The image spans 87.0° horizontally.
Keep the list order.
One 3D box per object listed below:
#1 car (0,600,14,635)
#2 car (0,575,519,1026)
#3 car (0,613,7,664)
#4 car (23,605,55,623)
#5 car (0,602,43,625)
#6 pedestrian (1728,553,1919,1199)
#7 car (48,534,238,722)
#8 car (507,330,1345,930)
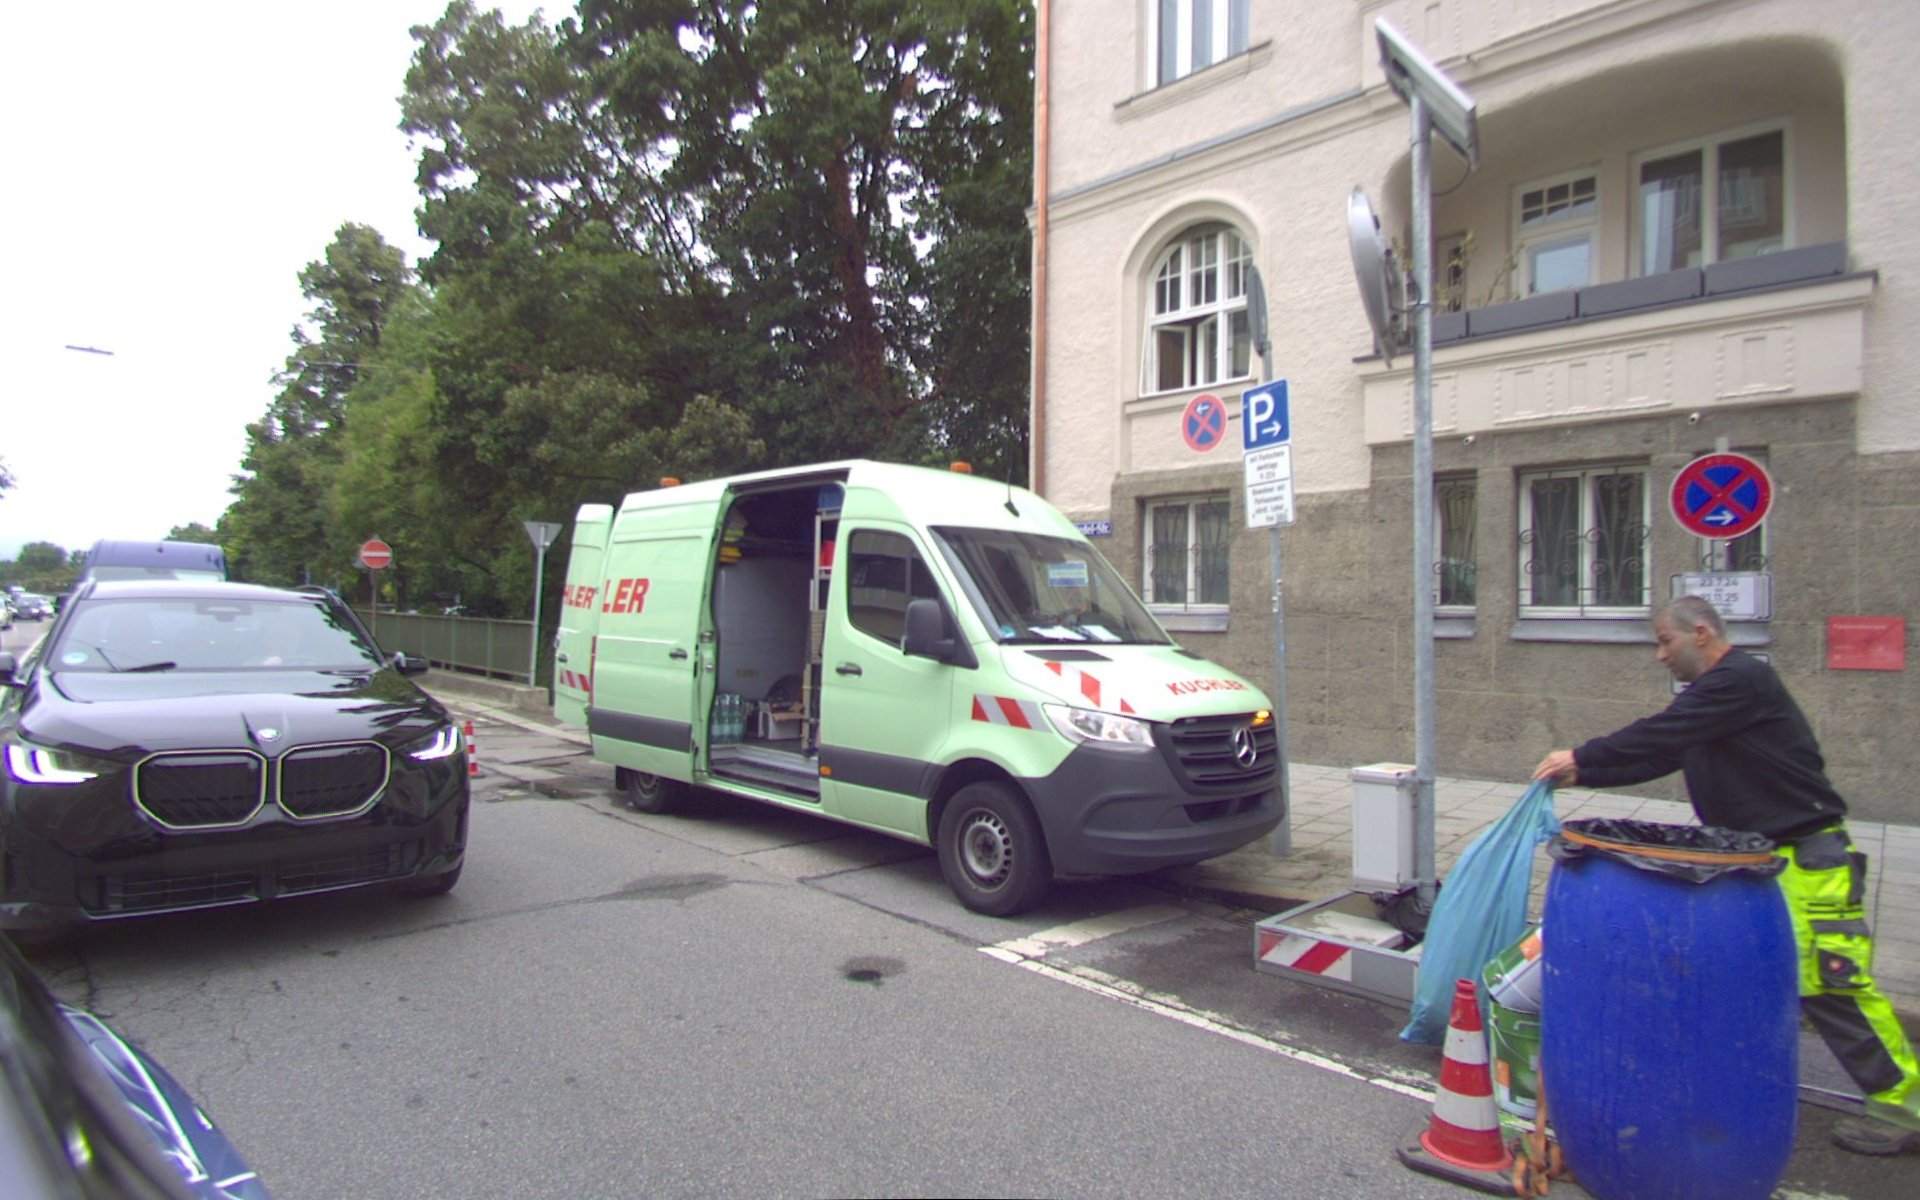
[{"bbox_3d":[-46.052,0.791,47.598,1.968,1.608,4.007,3,-2,-40],"label":"car"},{"bbox_3d":[-4.208,0.714,5.664,1.893,1.577,4.299,3,-1,-42],"label":"car"},{"bbox_3d":[-23.545,0.931,23.638,1.472,1.223,3.619,1,-1,-37],"label":"car"},{"bbox_3d":[-79.354,1.215,87.273,1.810,1.409,4.007,3,-2,-40],"label":"car"},{"bbox_3d":[-61.404,0.852,66.227,1.810,1.409,4.007,3,-2,-40],"label":"car"},{"bbox_3d":[2.602,0.690,2.789,0.634,1.592,0.757,0,-2,26],"label":"pedestrian"},{"bbox_3d":[-13.164,0.364,16.667,1.974,2.510,6.248,1,0,-35],"label":"car"},{"bbox_3d":[-0.913,0.167,7.519,6.797,2.592,2.117,-1,-2,44],"label":"car"}]
